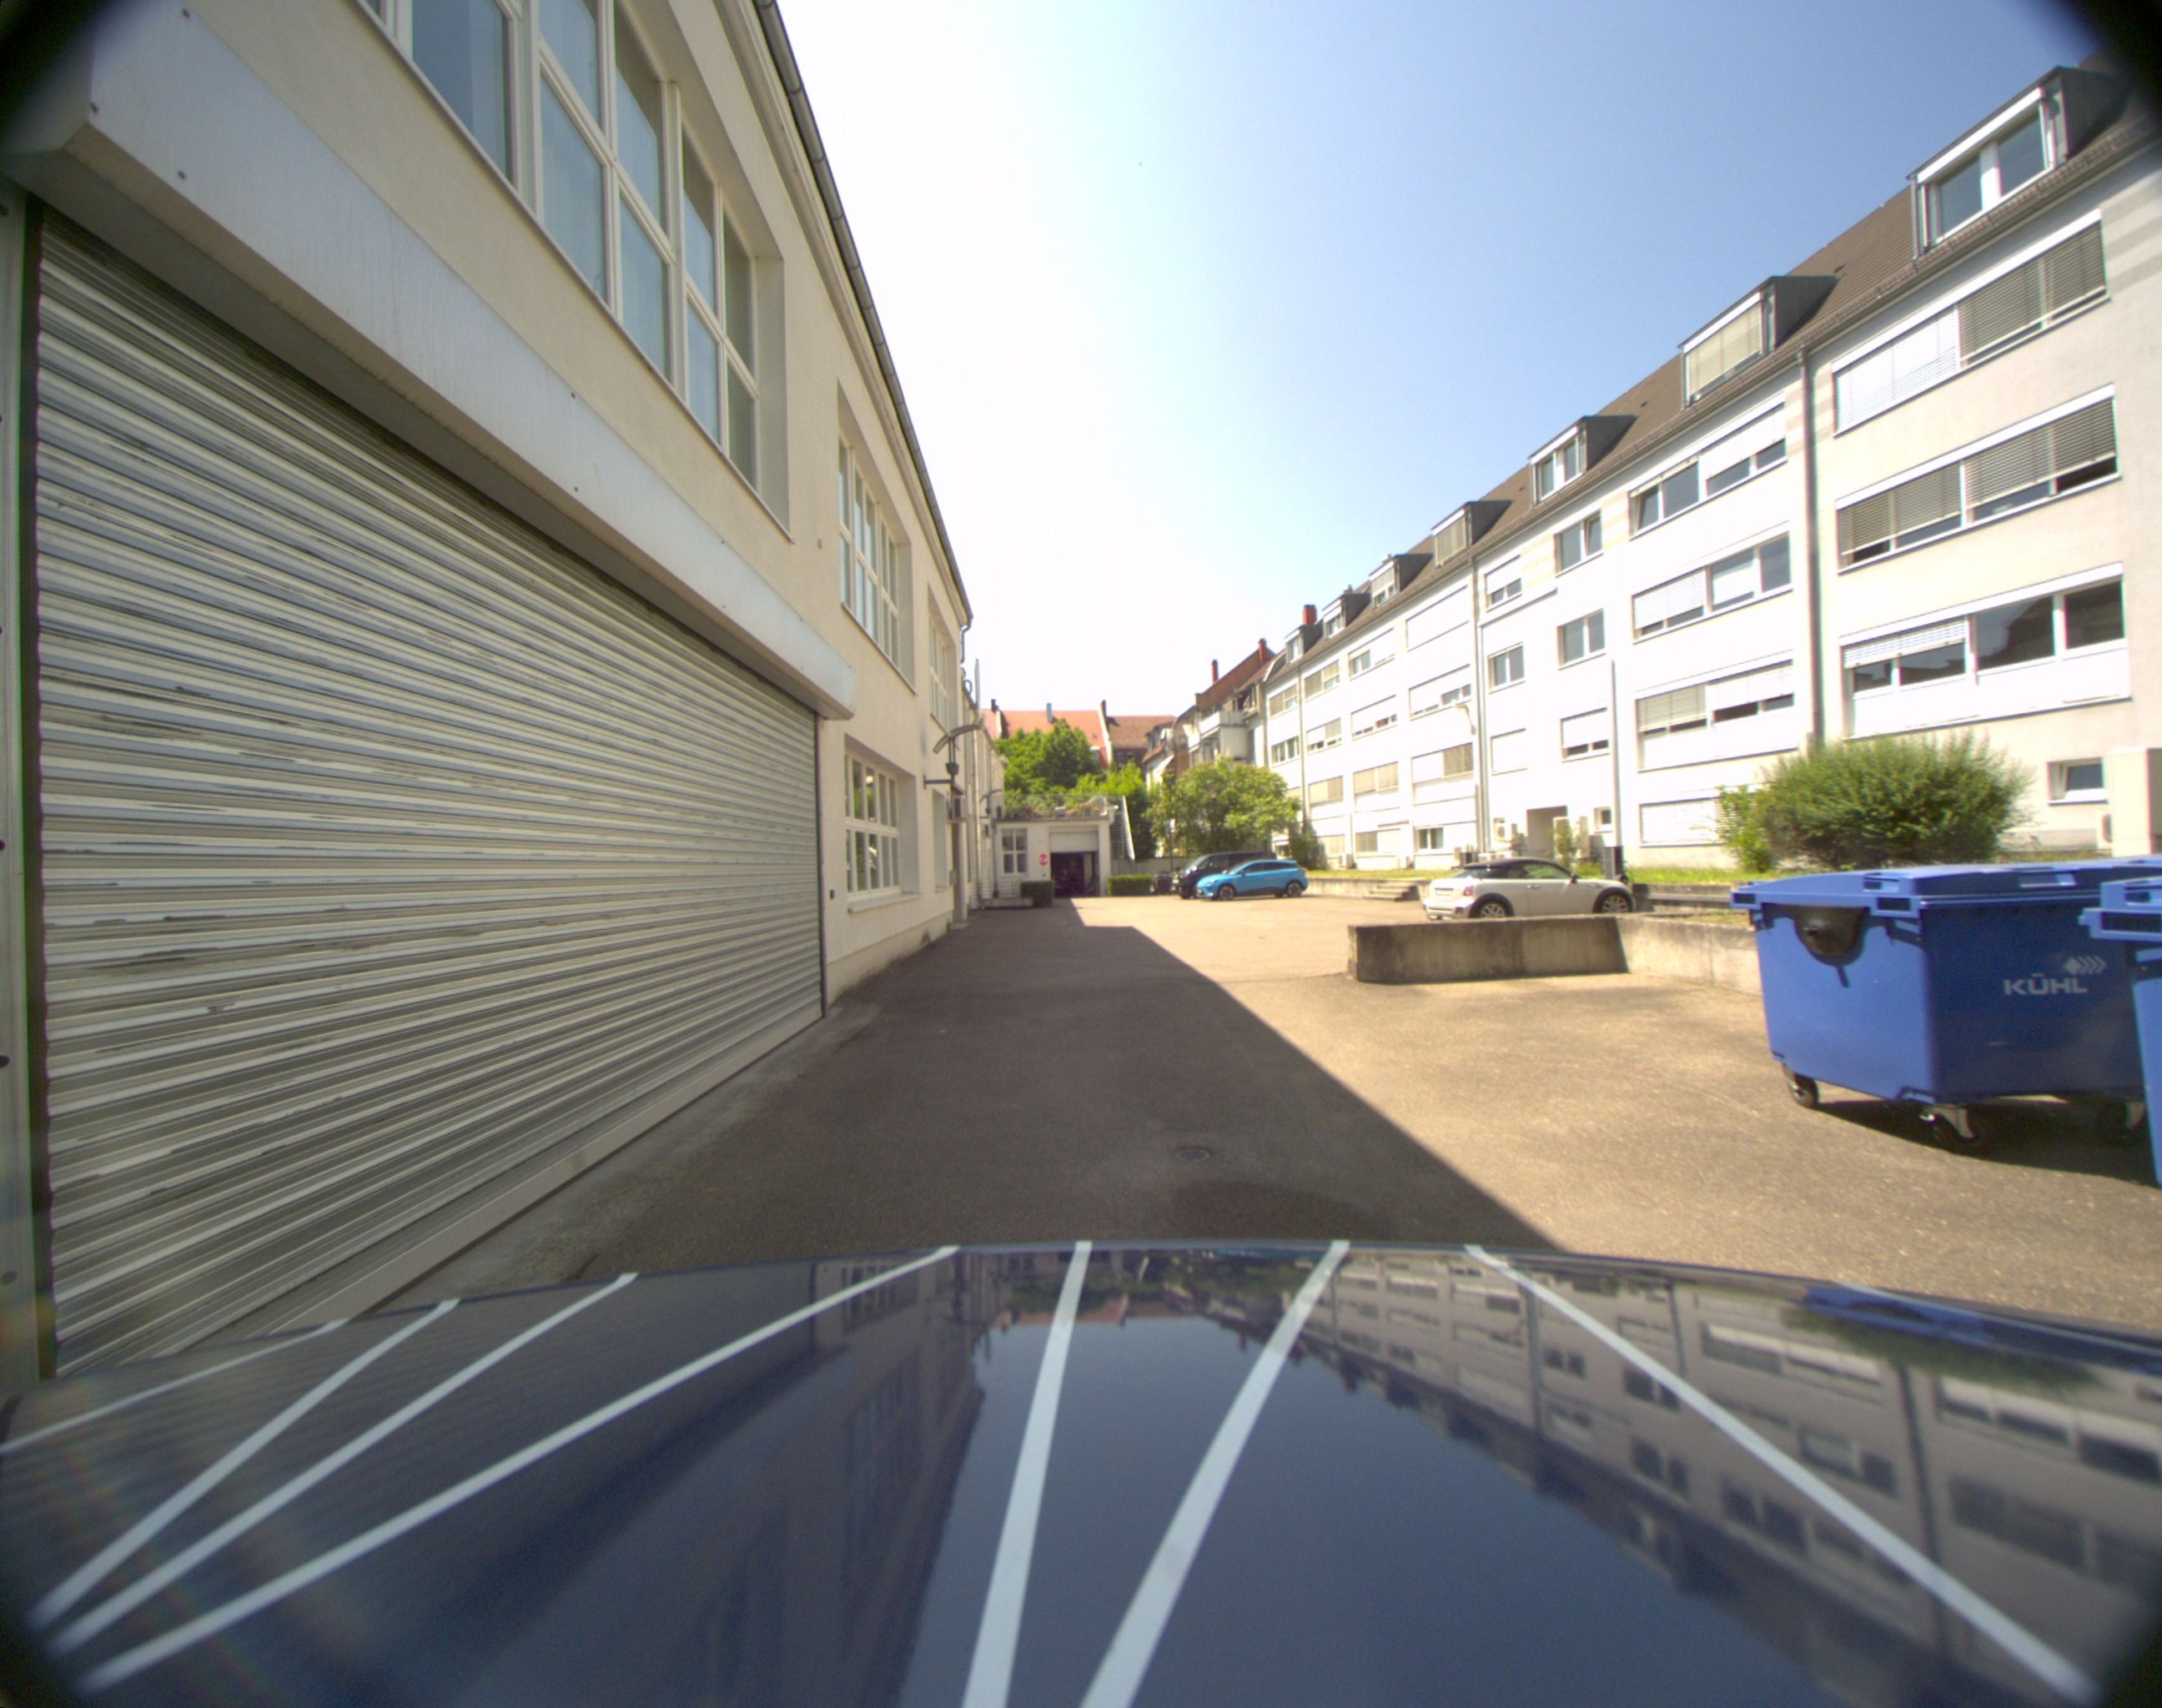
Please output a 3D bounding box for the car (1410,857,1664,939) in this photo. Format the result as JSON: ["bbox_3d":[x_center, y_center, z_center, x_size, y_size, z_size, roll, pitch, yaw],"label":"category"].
[{"bbox_3d":[8.747,0.812,14.769,3.999,1.428,1.710,-1,0,-6],"label":"car"}]

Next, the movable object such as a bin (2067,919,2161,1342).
[{"bbox_3d":[4.053,0.865,2.078,1.257,1.320,1.104,-2,0,-2],"label":"movable object such as a bin"}]

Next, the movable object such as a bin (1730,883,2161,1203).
[{"bbox_3d":[4.428,0.842,3.873,1.257,1.320,1.104,-2,0,-2],"label":"movable object such as a bin"}]

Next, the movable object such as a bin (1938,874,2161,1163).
[{"bbox_3d":[5.738,0.795,3.966,1.257,1.320,1.104,-2,0,-2],"label":"movable object such as a bin"}]

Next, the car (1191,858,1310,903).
[{"bbox_3d":[6.603,1.003,29.832,4.169,1.544,1.858,-2,0,-7],"label":"car"}]

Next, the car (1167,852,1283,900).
[{"bbox_3d":[6.099,0.929,32.477,4.450,1.821,1.999,-2,0,-5],"label":"car"}]
